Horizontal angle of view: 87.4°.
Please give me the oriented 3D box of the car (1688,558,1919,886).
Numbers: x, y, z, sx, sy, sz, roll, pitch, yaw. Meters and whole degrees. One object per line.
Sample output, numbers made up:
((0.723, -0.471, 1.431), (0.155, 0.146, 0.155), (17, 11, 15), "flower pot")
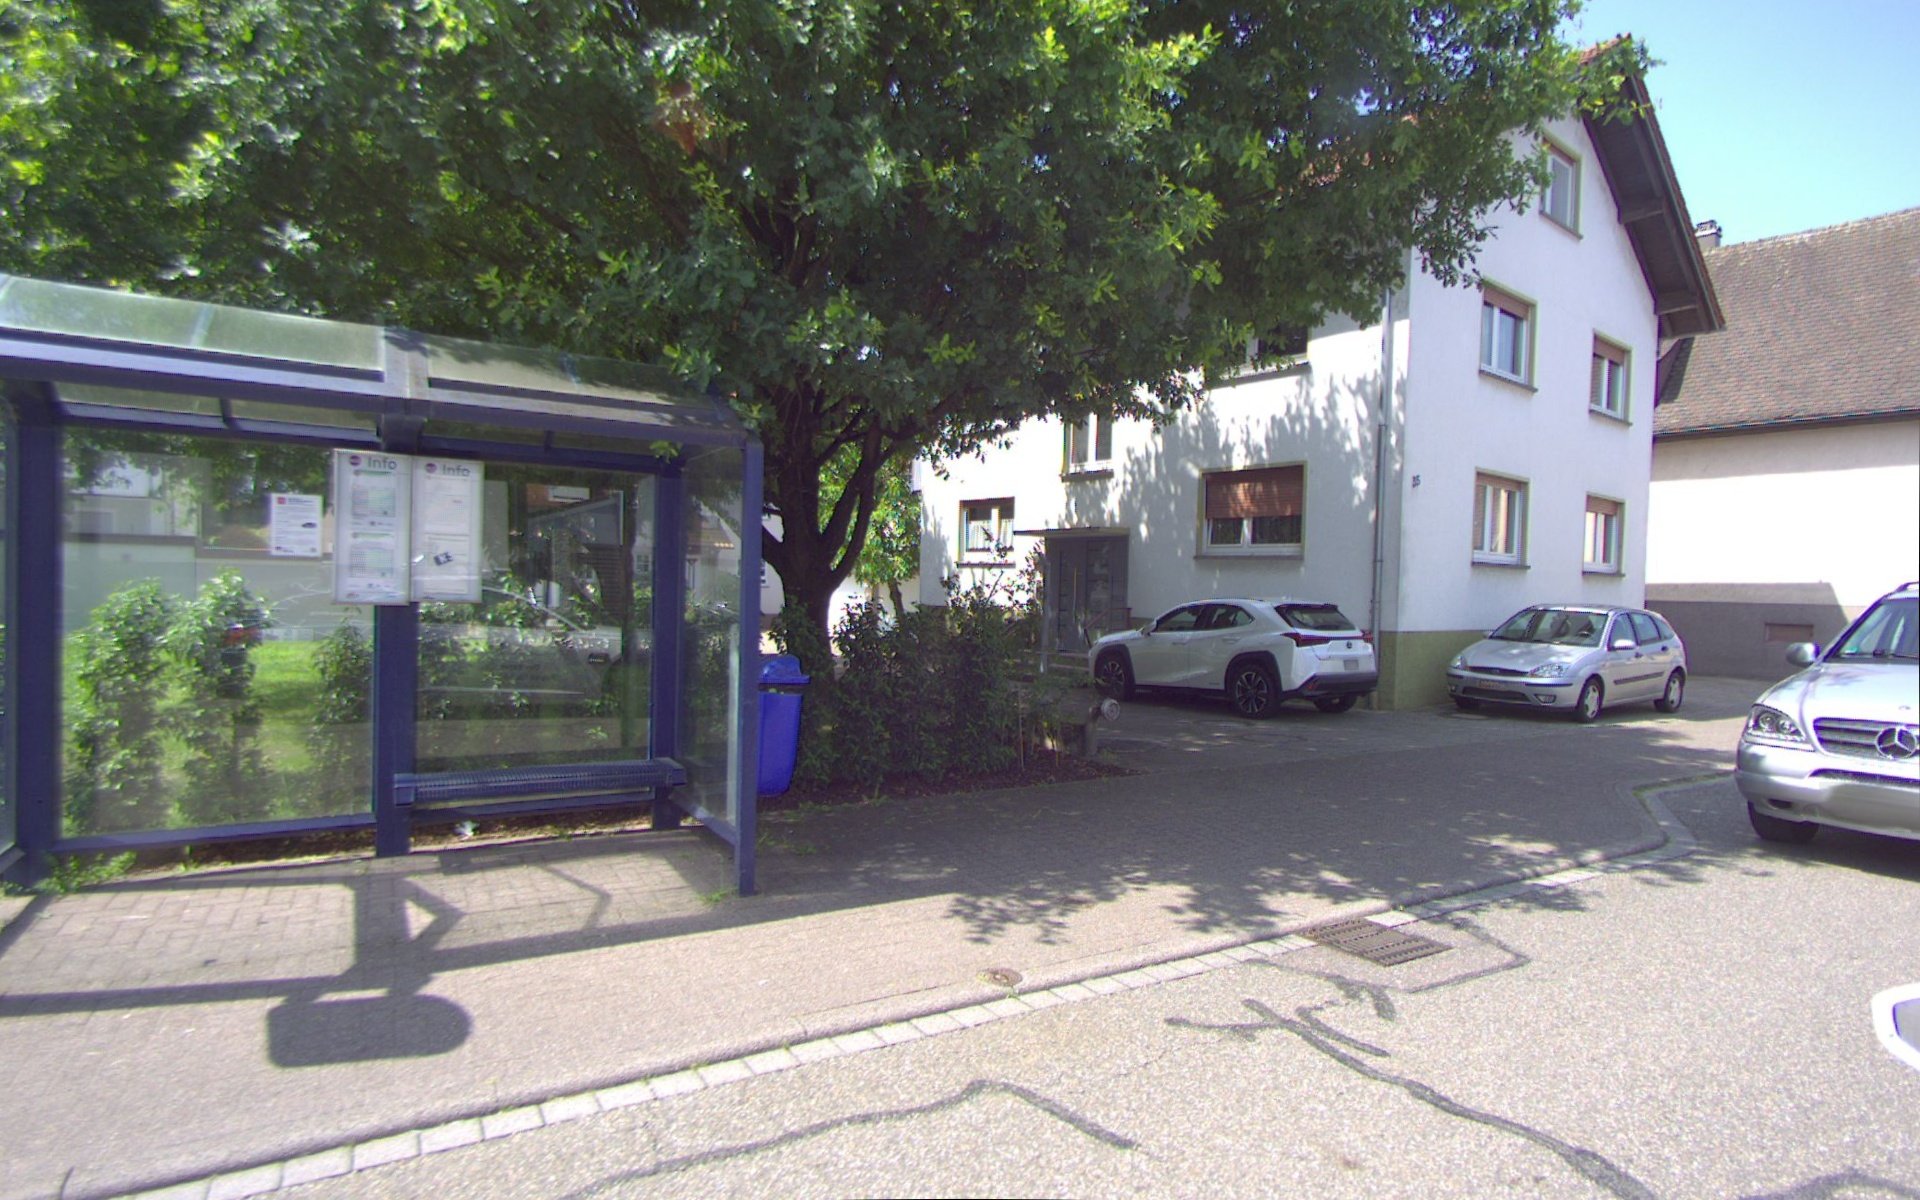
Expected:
((6.961, 0.687, 6.760), (4.282, 1.790, 1.875), (1, -1, -32), "car")

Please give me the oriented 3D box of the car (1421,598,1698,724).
((8.326, 0.737, 13.860), (4.015, 1.454, 1.766), (0, 2, -35), "car")

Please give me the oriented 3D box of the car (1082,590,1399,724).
((3.691, 0.689, 13.925), (1.754, 1.559, 4.136), (1, -1, -32), "car")
